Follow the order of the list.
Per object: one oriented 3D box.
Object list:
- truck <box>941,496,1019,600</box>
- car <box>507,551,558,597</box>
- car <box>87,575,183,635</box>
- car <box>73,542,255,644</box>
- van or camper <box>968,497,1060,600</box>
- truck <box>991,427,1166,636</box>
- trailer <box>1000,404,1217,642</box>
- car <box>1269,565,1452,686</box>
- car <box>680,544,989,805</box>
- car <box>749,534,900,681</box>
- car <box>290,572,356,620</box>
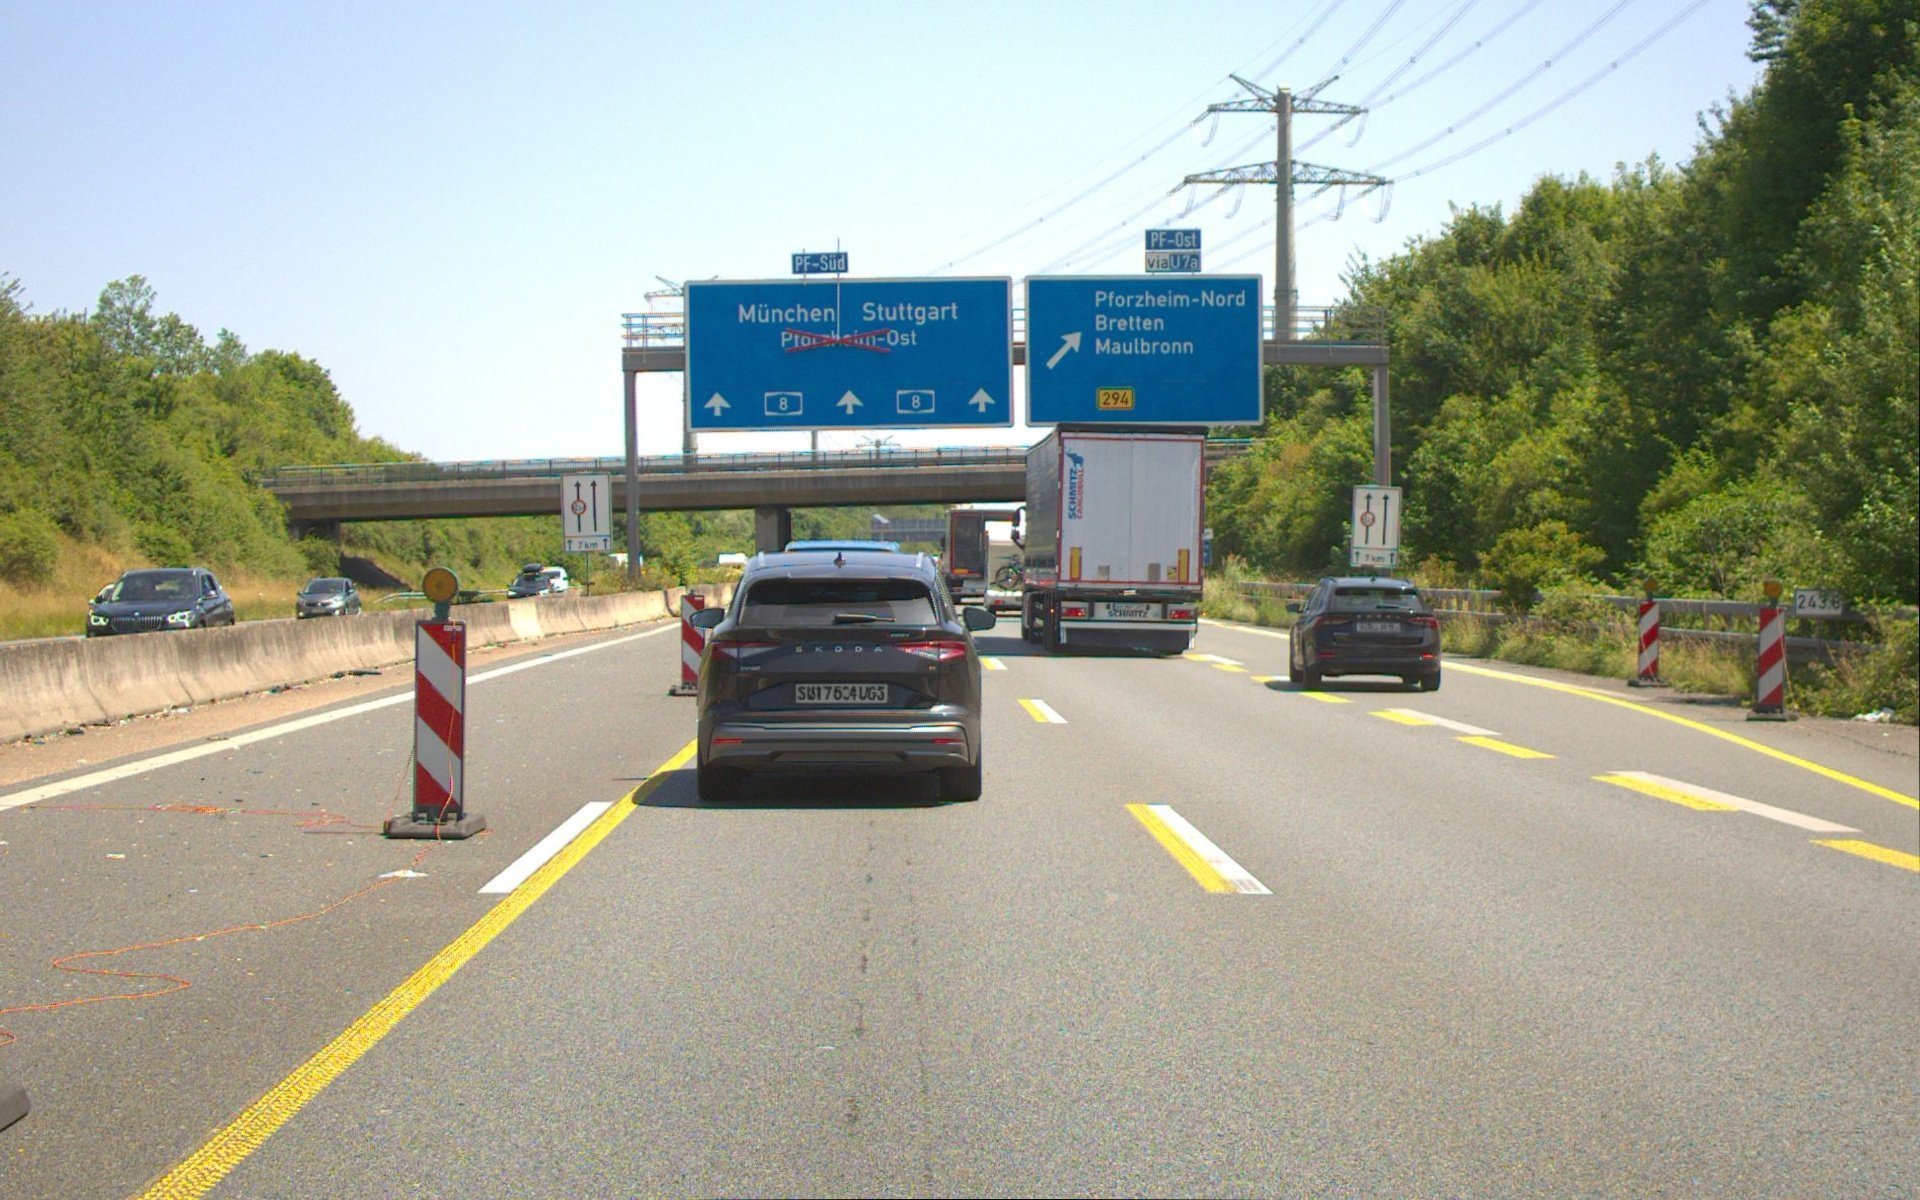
[{"bbox_3d":[0.815,-2.173,145.453,3.078,4.132,13.054,1,1,0],"label":"truck"},{"bbox_3d":[-17.445,-1.064,140.324,1.741,1.812,4.623,-1,1,-3],"label":"car"},{"bbox_3d":[-21.170,0.116,88.356,1.574,1.459,3.779,-1,1,-1],"label":"car"},{"bbox_3d":[-13.109,-0.145,56.883,1.993,1.594,4.583,-1,1,-1],"label":"car"},{"bbox_3d":[1.667,-1.637,108.899,2.586,2.958,6.085,4,1,0],"label":"van or camper"},{"bbox_3d":[2.368,-1.408,71.478,3.024,4.073,7.796,1,1,-2],"label":"truck"},{"bbox_3d":[2.611,-1.396,64.491,3.065,4.029,11.489,0,1,-2],"label":"trailer"},{"bbox_3d":[5.263,0.305,45.657,1.779,1.484,4.464,1,1,-1],"label":"car"},{"bbox_3d":[-0.842,0.423,23.323,1.895,1.586,4.443,0,1,-2],"label":"car"},{"bbox_3d":[-1.791,0.051,45.894,1.895,1.835,4.443,1,1,-2],"label":"car"},{"bbox_3d":[-21.649,-0.148,116.926,1.499,1.543,4.000,-1,1,-1],"label":"car"}]
